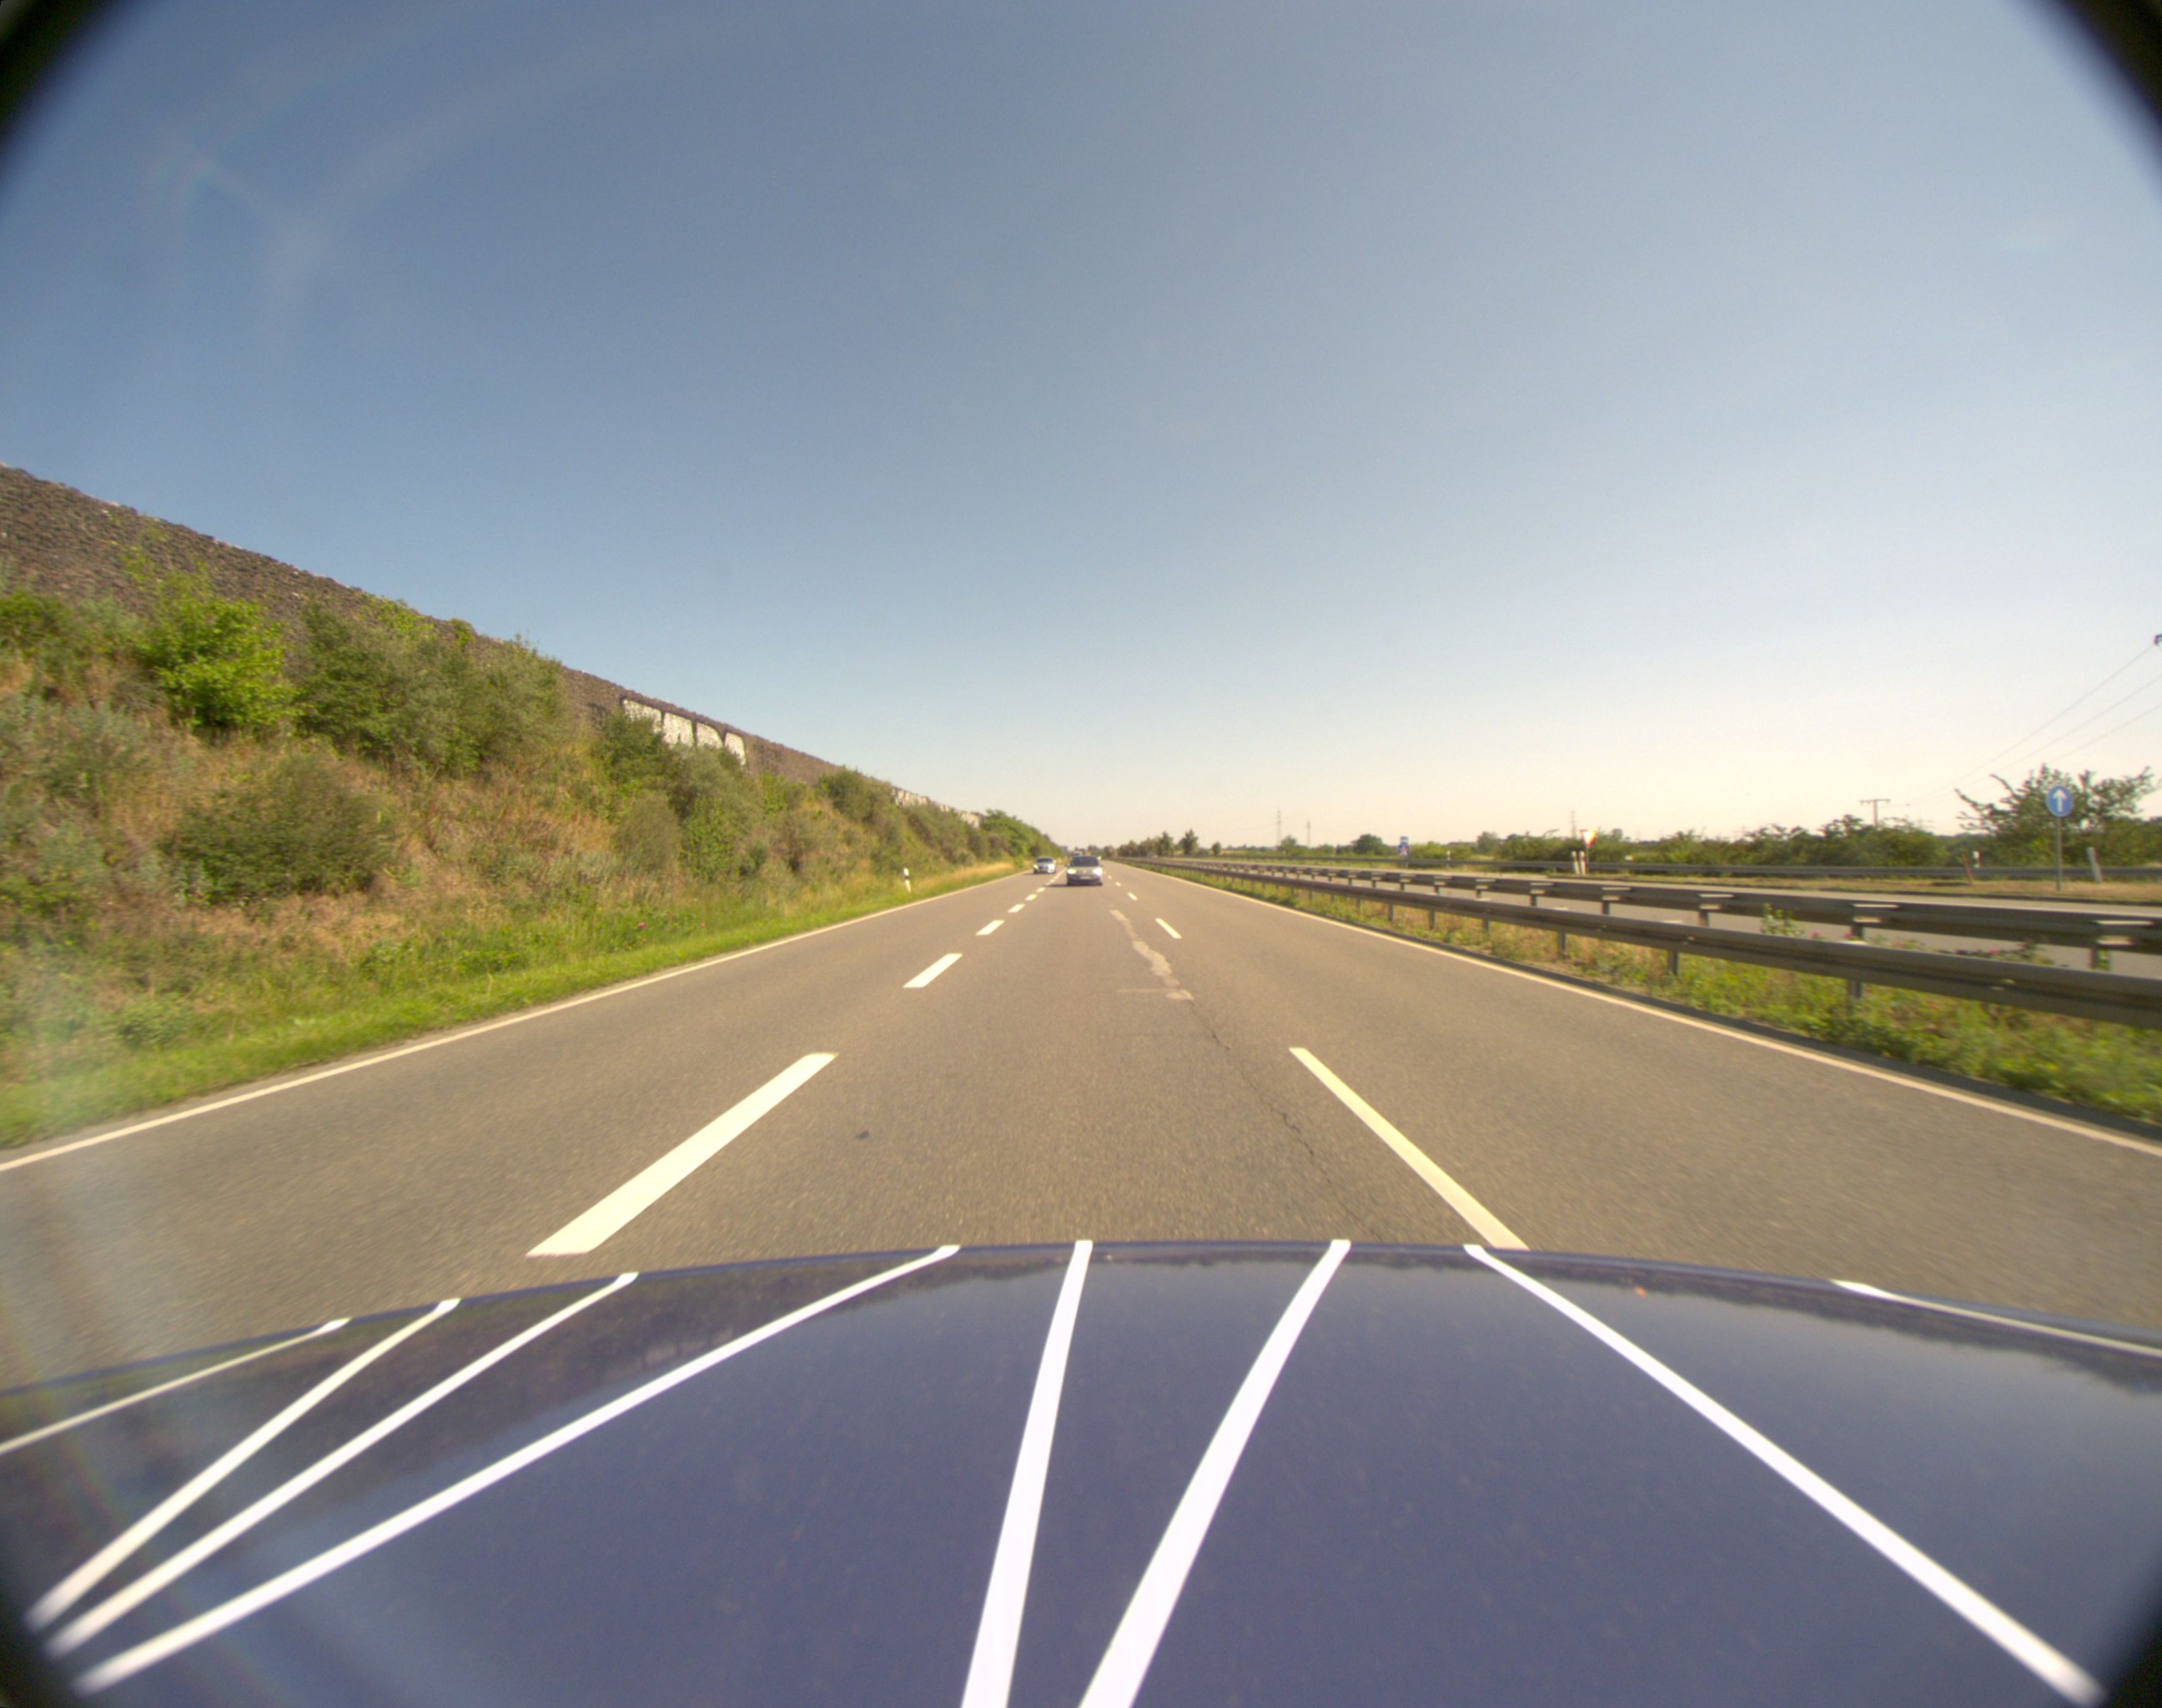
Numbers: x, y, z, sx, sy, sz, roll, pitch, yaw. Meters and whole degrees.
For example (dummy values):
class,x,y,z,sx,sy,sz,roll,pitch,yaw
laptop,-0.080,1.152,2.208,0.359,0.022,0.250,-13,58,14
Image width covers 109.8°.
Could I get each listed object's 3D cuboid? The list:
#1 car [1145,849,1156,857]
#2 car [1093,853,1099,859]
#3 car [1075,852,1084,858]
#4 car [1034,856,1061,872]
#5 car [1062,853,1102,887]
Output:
class,x,y,z,sx,sy,sz,roll,pitch,yaw
car,14.736,-0.209,161.158,1.704,1.476,4.619,-4,0,0
car,4.695,0.663,241.076,1.854,1.602,4.000,-2,1,3
car,-0.286,0.215,152.746,1.790,1.212,3.999,-2,1,-1
car,-2.853,0.834,65.414,1.854,1.212,4.000,-2,1,3
car,0.107,0.765,39.040,1.854,1.635,4.001,-1,0,3
